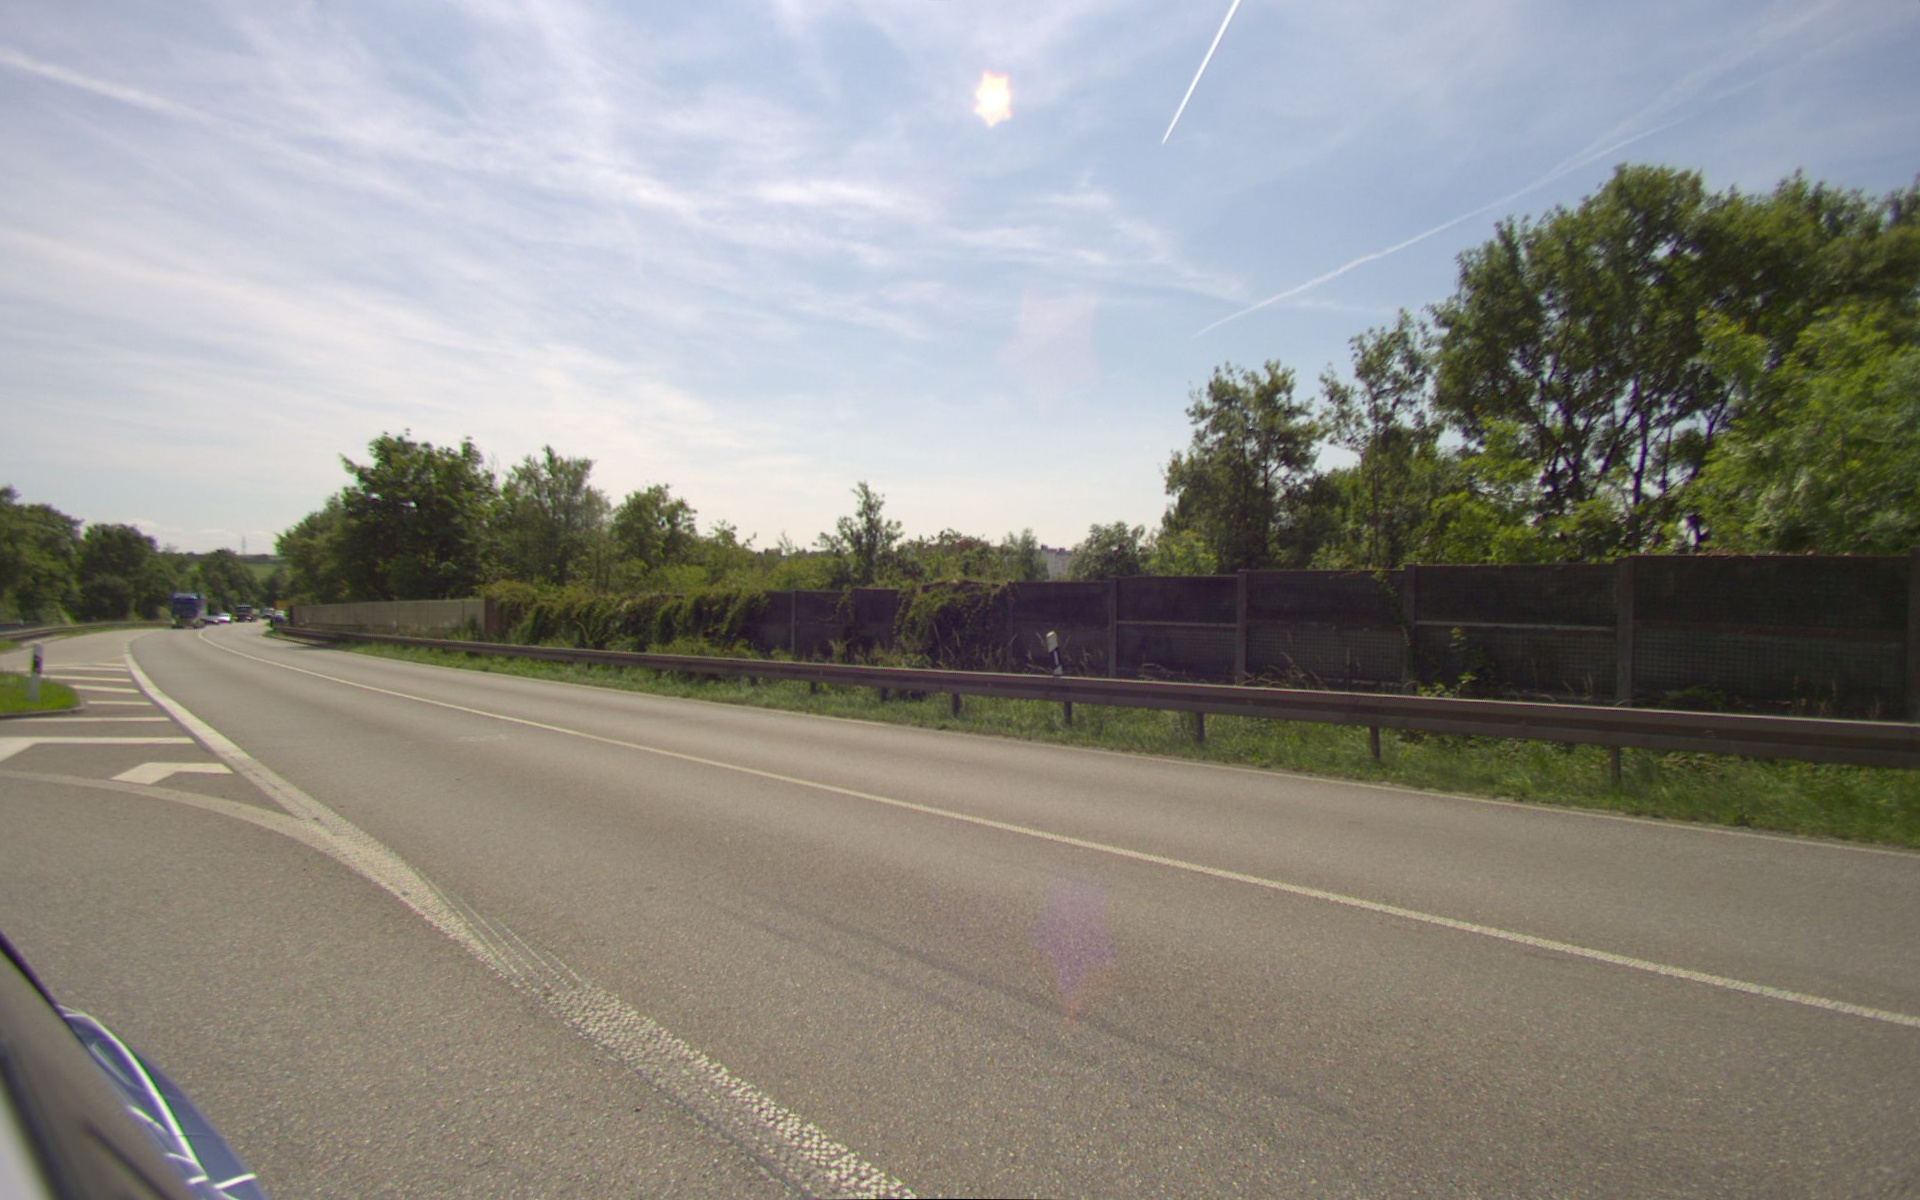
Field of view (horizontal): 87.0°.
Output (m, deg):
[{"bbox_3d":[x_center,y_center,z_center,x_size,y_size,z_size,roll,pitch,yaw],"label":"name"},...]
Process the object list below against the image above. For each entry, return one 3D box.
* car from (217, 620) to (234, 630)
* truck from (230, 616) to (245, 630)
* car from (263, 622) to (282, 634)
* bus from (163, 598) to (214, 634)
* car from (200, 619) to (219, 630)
[{"bbox_3d":[-123.270,4.138,169.841,1.966,1.658,4.011,1,-2,-32],"label":"car"},{"bbox_3d":[-136.090,4.359,190.664,1.966,2.619,5.835,1,-1,-33],"label":"truck"},{"bbox_3d":[-92.699,3.746,136.424,1.725,1.550,4.120,-1,0,-28],"label":"car"},{"bbox_3d":[-90.373,1.920,118.702,3.296,4.100,10.545,1,-2,-30],"label":"bus"},{"bbox_3d":[-112.945,3.662,152.358,1.966,1.654,4.011,1,-2,-32],"label":"car"}]
